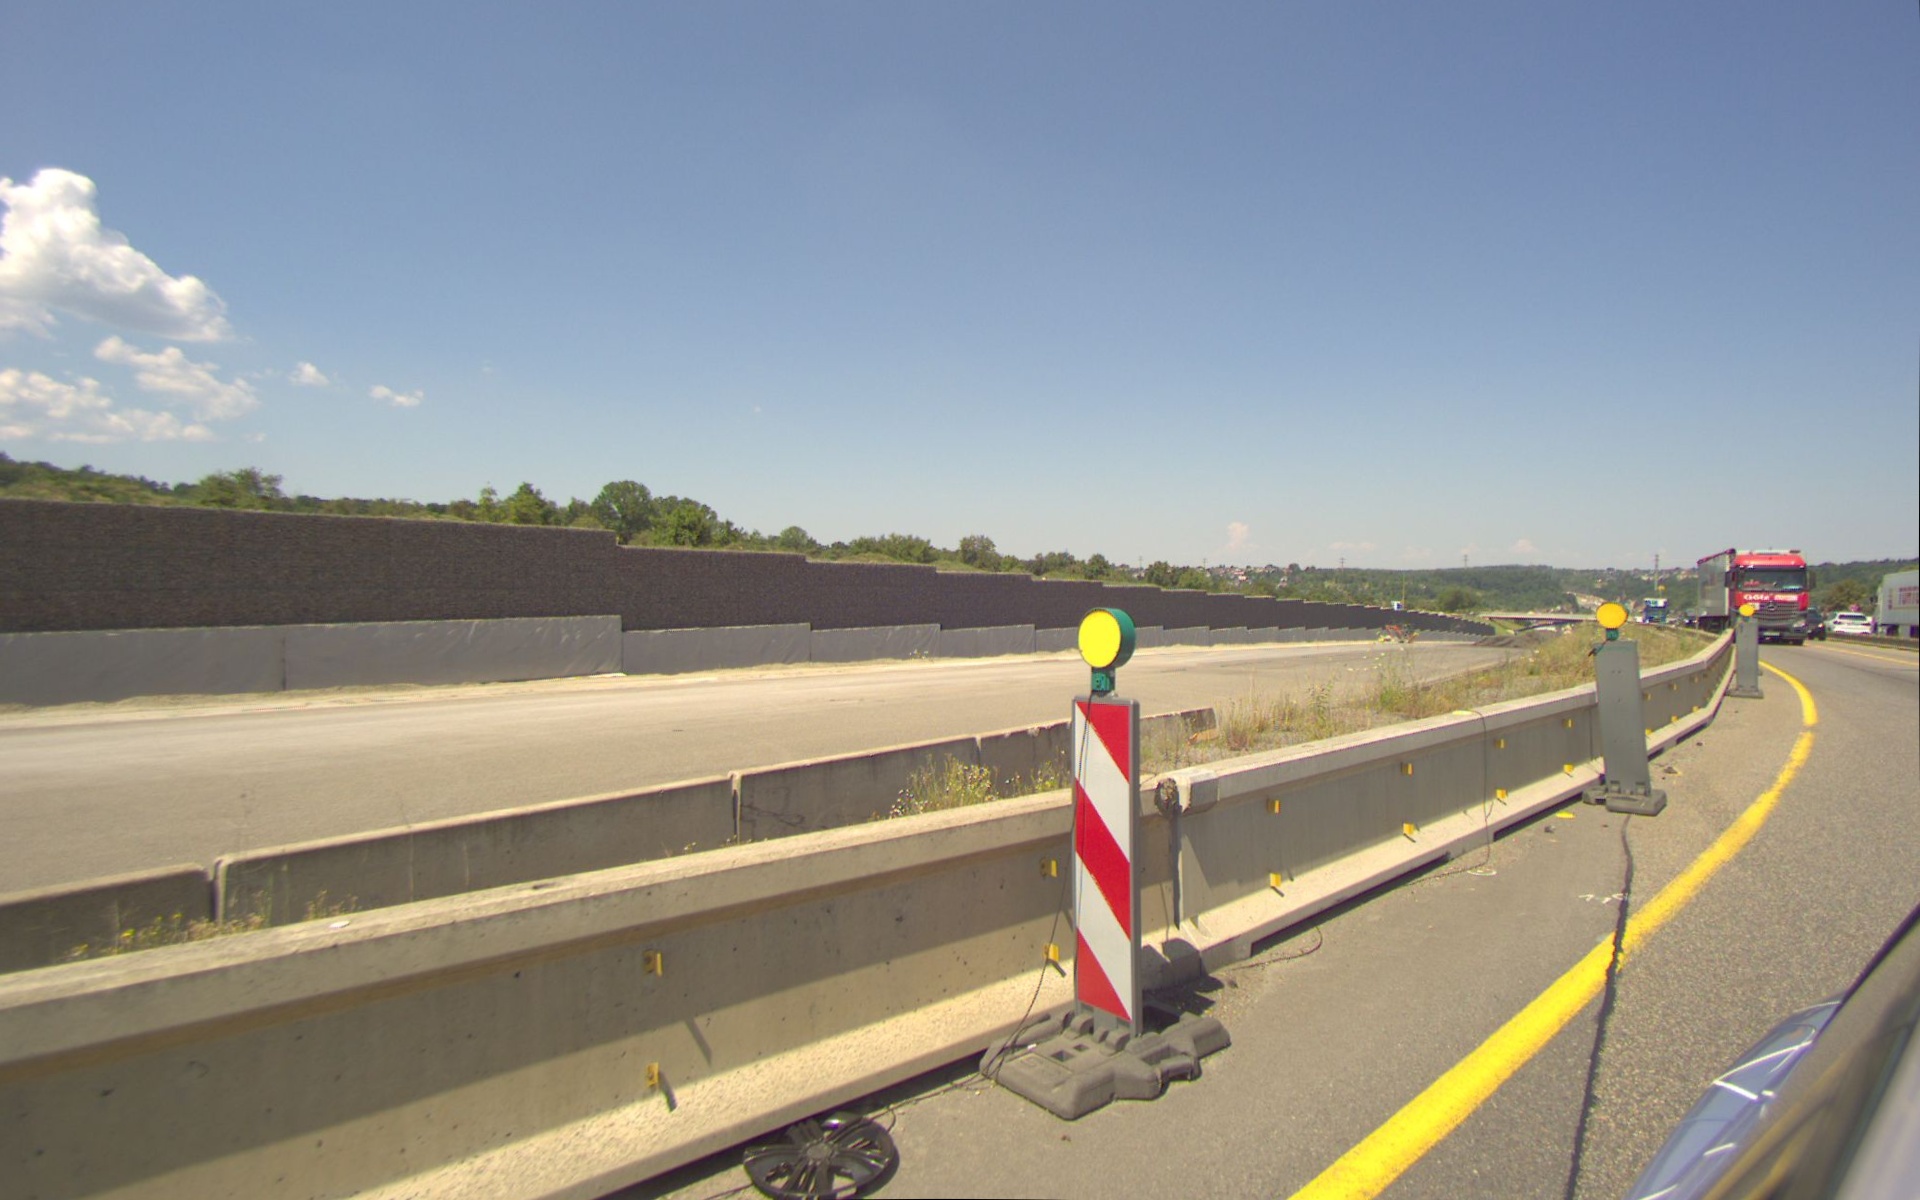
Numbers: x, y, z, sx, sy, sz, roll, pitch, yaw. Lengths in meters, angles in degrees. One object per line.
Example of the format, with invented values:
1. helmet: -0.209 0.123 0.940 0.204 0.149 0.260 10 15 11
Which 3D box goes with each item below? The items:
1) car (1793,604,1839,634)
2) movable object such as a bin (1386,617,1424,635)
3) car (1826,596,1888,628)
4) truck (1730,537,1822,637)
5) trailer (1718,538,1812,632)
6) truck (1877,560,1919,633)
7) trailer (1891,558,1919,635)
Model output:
1. car: 45.113 0.970 53.385 1.418 1.504 3.373 1 1 34
2. movable object such as a bin: 56.754 3.317 129.034 4.063 2.175 1.759 1 0 7
3. car: 52.892 0.669 59.765 1.986 1.760 4.441 3 2 32
4. truck: 34.376 -0.530 42.788 2.612 3.952 4.871 1 0 35
5. trailer: 37.794 -0.669 47.835 2.686 3.923 12.265 1 1 35
6. truck: 56.953 -0.190 60.081 2.819 4.183 5.394 1 0 33
7. trailer: 52.888 -0.174 53.775 2.804 4.146 12.966 1 0 33
